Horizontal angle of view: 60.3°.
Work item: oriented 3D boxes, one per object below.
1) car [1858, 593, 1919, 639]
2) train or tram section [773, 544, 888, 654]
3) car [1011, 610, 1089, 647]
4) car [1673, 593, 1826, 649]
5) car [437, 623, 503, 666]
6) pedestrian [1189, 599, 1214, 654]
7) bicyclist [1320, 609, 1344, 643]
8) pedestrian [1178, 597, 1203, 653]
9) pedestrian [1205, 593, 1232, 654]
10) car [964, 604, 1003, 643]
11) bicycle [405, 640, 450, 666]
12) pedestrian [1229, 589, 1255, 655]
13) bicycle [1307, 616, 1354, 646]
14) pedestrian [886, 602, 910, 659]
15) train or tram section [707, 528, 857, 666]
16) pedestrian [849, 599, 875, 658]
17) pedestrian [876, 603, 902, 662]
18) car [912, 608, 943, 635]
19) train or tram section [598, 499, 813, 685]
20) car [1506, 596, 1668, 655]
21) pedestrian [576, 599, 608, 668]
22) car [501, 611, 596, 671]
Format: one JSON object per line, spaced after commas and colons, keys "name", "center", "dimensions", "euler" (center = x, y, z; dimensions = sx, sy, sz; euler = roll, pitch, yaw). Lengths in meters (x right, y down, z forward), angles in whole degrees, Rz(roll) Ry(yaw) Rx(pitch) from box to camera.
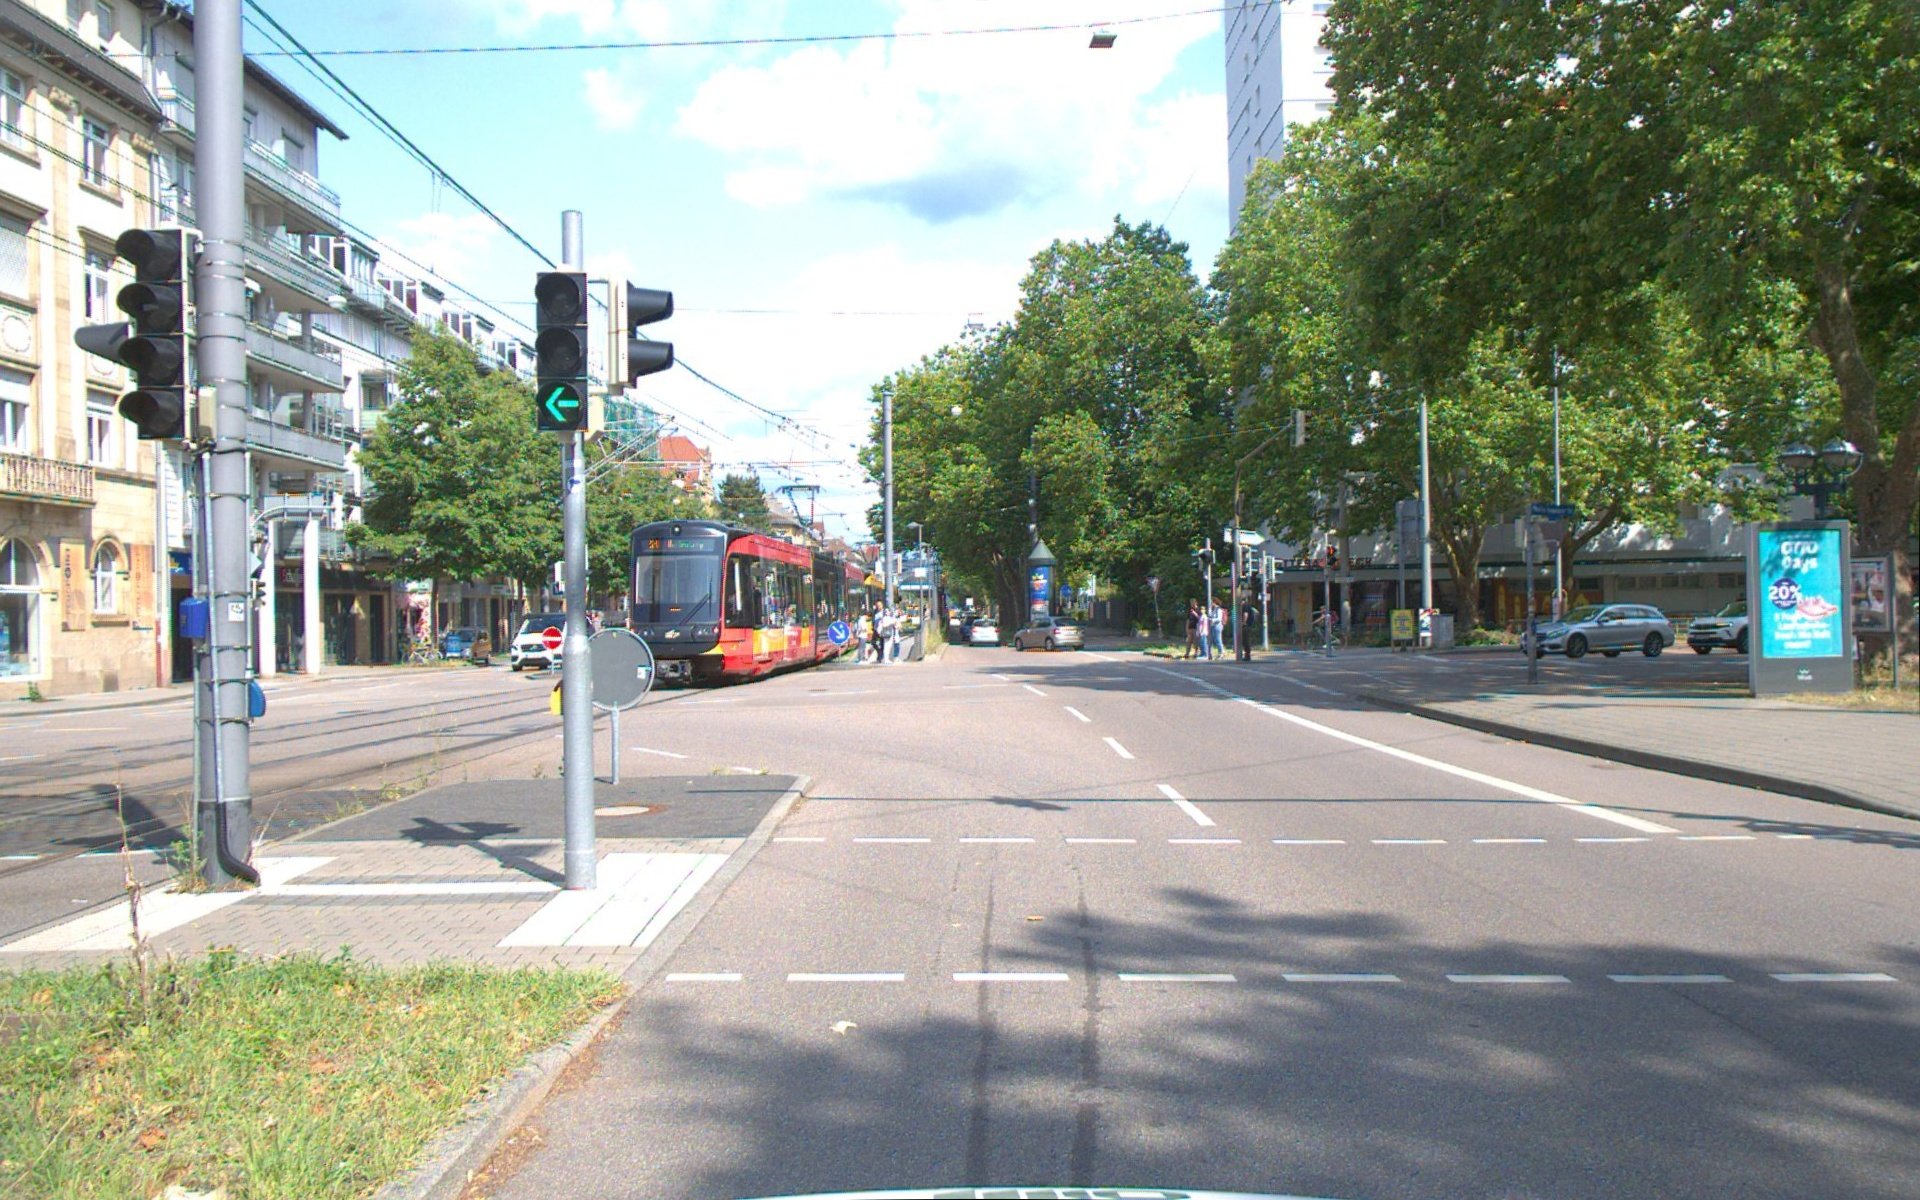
{"name": "car", "center": [33.714, 0.516, 57.764], "dimensions": [3.765, 1.516, 1.858], "euler": [-2, 0, -8]}
{"name": "train or tram section", "center": [-4.623, -0.007, 61.527], "dimensions": [2.747, 3.623, 12.160], "euler": [-2, 0, 2]}
{"name": "car", "center": [3.802, 1.212, 70.306], "dimensions": [1.729, 1.478, 3.571], "euler": [-1, 0, -28]}
{"name": "car", "center": [23.219, 0.619, 48.647], "dimensions": [4.005, 1.516, 1.849], "euler": [-1, -1, -22]}
{"name": "car", "center": [-22.123, 2.002, 74.764], "dimensions": [1.809, 1.821, 3.999], "euler": [1, 0, -1]}
{"name": "pedestrian", "center": [7.296, 0.795, 50.053], "dimensions": [0.503, 1.625, 0.553], "euler": [-1, -1, -21]}
{"name": "bicyclist", "center": [14.004, 0.981, 62.234], "dimensions": [0.796, 1.273, 0.482], "euler": [1, -1, 27]}
{"name": "pedestrian", "center": [7.046, 0.756, 50.588], "dimensions": [0.503, 1.700, 0.553], "euler": [-1, -1, -21]}
{"name": "pedestrian", "center": [7.600, 0.687, 48.627], "dimensions": [0.520, 1.766, 0.553], "euler": [-1, -1, -21]}
{"name": "car", "center": [1.252, 1.267, 89.426], "dimensions": [1.953, 2.049, 3.999], "euler": [0, 0, -1]}
{"name": "bicycle", "center": [-21.653, 2.149, 67.281], "dimensions": [1.655, 1.003, 0.497], "euler": [-2, -1, -3]}
{"name": "pedestrian", "center": [7.966, 0.628, 46.739], "dimensions": [0.473, 1.857, 0.553], "euler": [-2, -1, 42]}
{"name": "bicycle", "center": [13.944, 1.165, 62.271], "dimensions": [1.644, 1.107, 0.482], "euler": [1, -1, 28]}
{"name": "pedestrian", "center": [-1.910, 0.951, 51.077], "dimensions": [0.655, 1.732, 0.648], "euler": [-1, -1, 2]}
{"name": "train or tram section", "center": [-5.117, -0.059, 49.893], "dimensions": [2.747, 3.623, 11.185], "euler": [-2, 0, 2]}
{"name": "pedestrian", "center": [-2.915, 0.842, 49.057], "dimensions": [0.655, 1.732, 0.648], "euler": [-1, -1, 2]}
{"name": "pedestrian", "center": [-2.100, 0.950, 48.984], "dimensions": [0.655, 1.732, 0.648], "euler": [-1, -1, 2]}
{"name": "car", "center": [-2.234, 1.464, 114.627], "dimensions": [1.777, 1.836, 4.001], "euler": [-2, 0, 3]}
{"name": "train or tram section", "center": [-5.575, -0.147, 38.657], "dimensions": [2.738, 3.623, 11.380], "euler": [-2, 0, 2]}
{"name": "car", "center": [17.434, 0.698, 46.036], "dimensions": [3.924, 1.516, 1.852], "euler": [-1, -1, -17]}
{"name": "pedestrian", "center": [-11.103, 1.002, 49.893], "dimensions": [0.722, 2.049, 0.704], "euler": [-1, -1, 5]}
{"name": "car", "center": [-14.284, 1.391, 57.678], "dimensions": [1.952, 1.924, 5.172], "euler": [-1, 0, 0]}
